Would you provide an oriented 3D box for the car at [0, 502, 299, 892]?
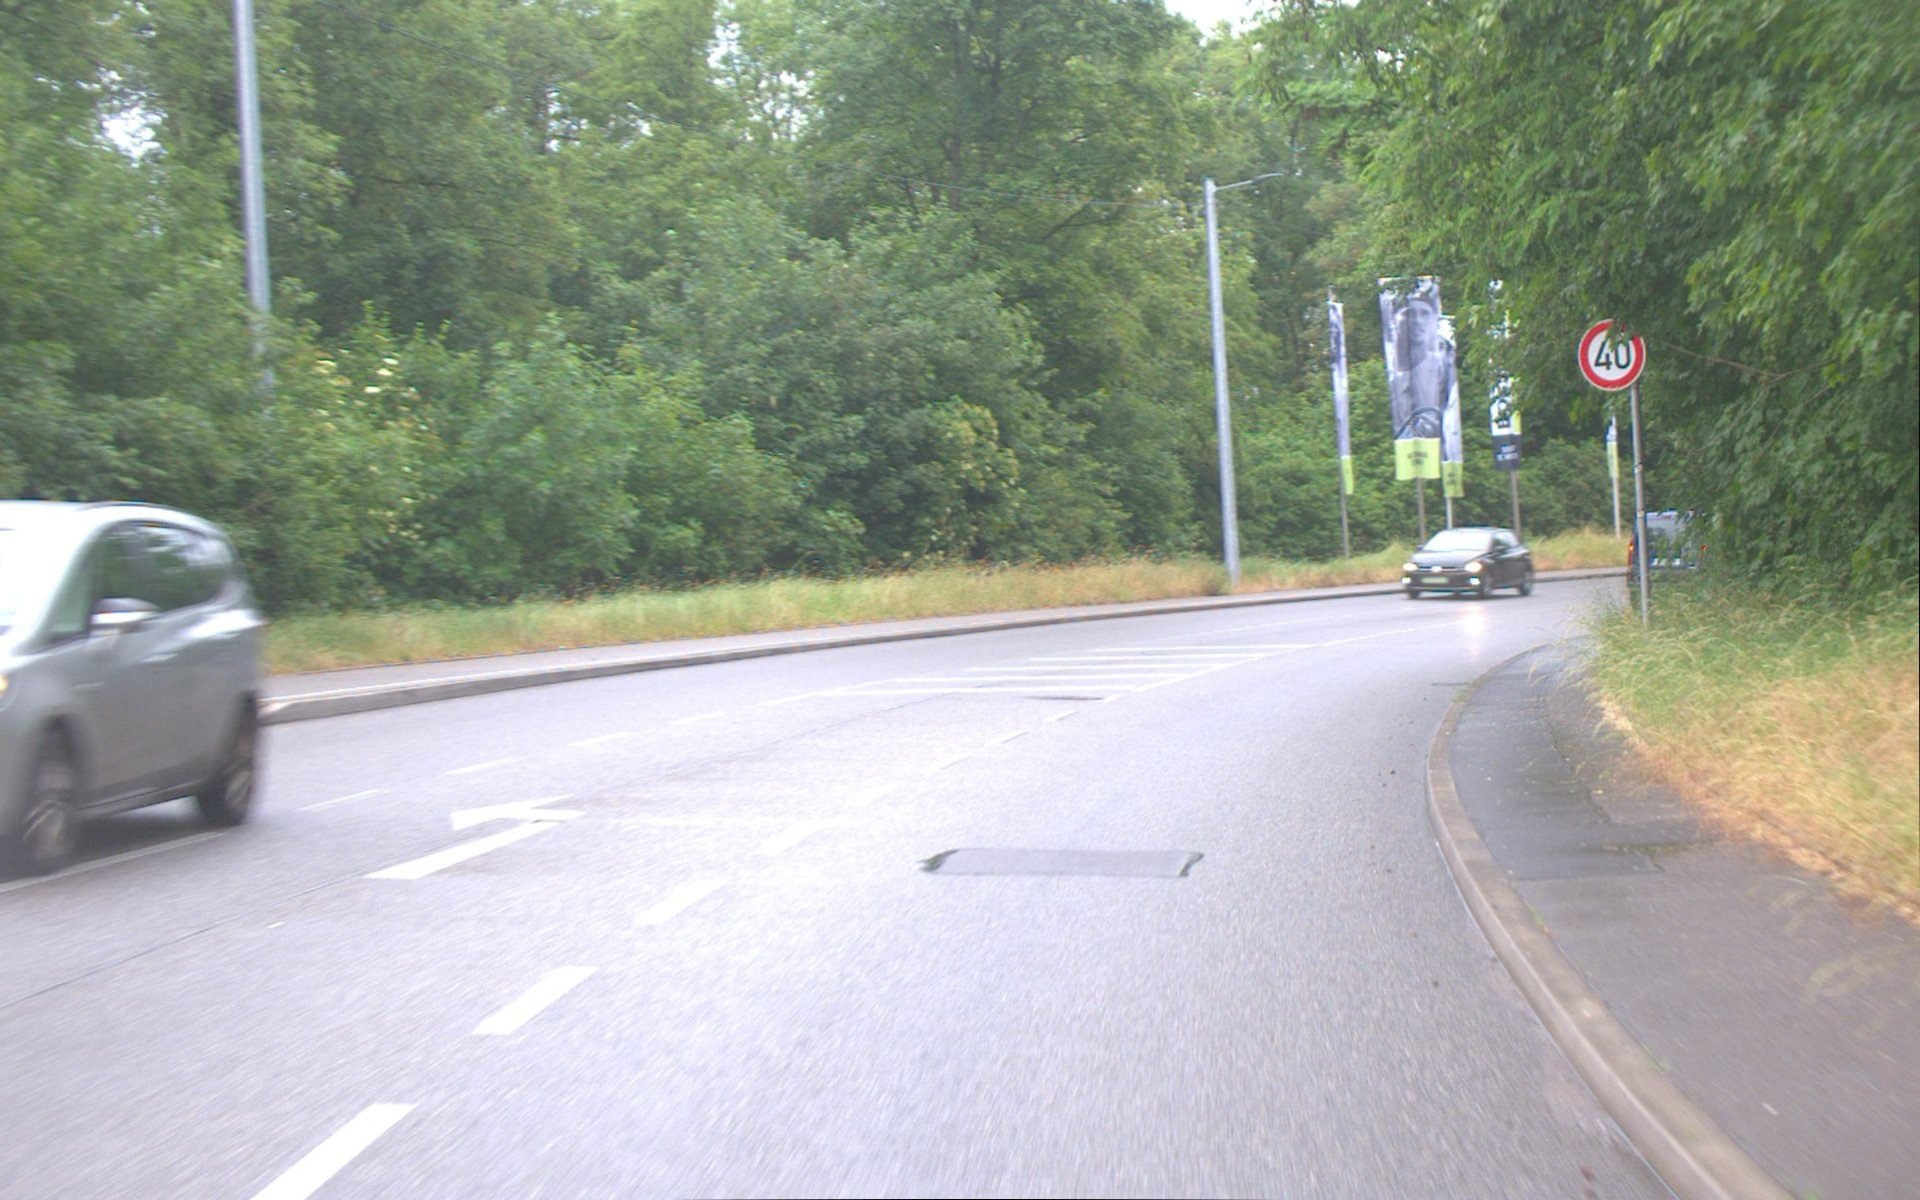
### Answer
[{"bbox_3d":[-4.619,0.358,16.034,1.759,1.609,4.417,1,1,7],"label":"car"}]

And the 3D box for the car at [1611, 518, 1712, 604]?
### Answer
[{"bbox_3d":[13.506,-0.765,66.371,1.668,1.588,3.682,1,1,8],"label":"car"}]

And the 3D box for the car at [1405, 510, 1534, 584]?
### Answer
[{"bbox_3d":[10.604,-1.103,71.333,1.596,1.472,3.787,1,1,25],"label":"car"}]
